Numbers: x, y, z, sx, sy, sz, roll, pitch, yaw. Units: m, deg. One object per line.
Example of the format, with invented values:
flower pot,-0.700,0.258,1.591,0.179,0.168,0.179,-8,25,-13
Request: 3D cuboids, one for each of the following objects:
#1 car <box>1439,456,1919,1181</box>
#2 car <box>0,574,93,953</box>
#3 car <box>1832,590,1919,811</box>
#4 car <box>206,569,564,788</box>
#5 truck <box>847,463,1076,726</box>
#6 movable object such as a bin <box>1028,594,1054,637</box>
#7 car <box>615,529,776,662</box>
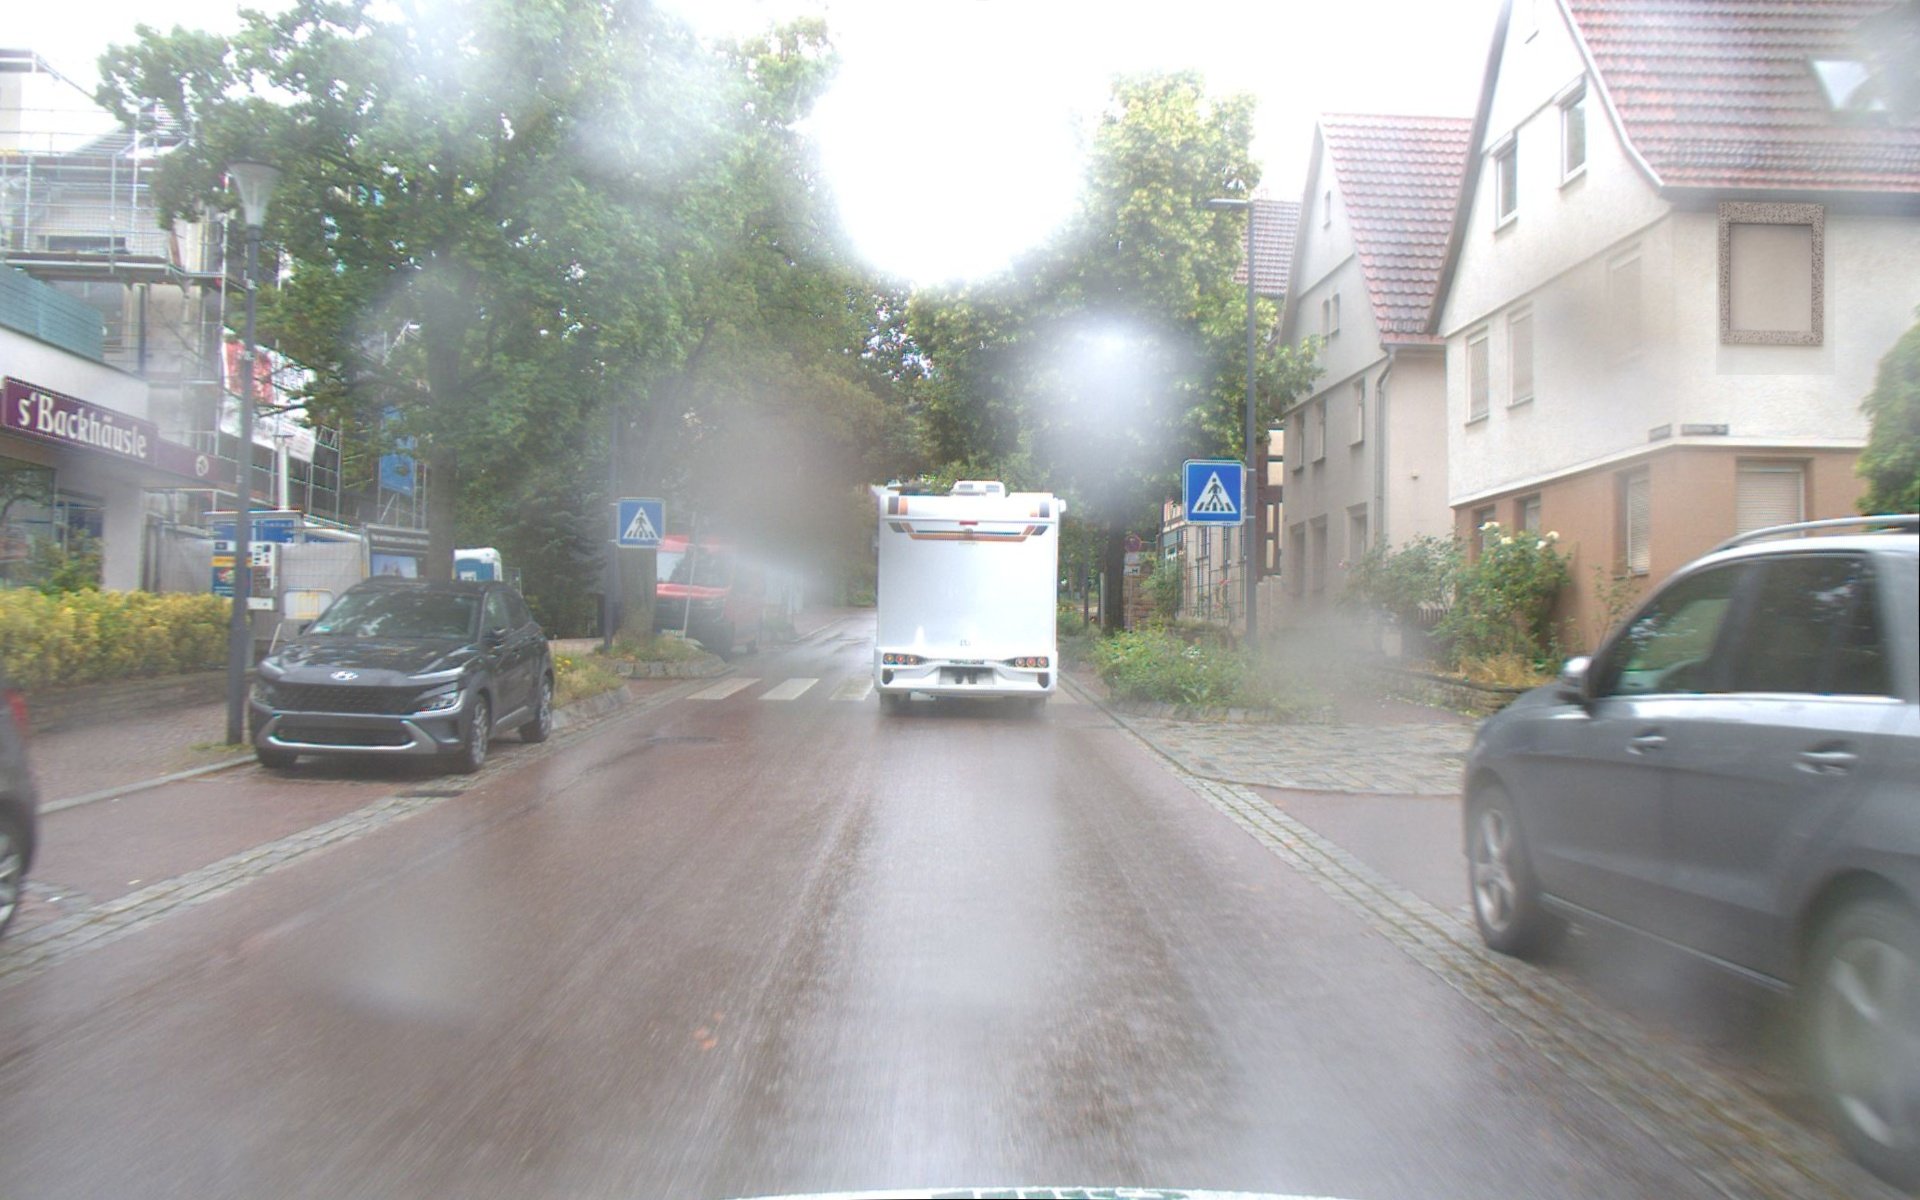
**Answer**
car,3.310,0.561,5.679,1.876,1.823,4.486,1,0,-2
car,-4.776,0.659,5.530,1.613,1.560,3.866,2,0,1
car,7.952,0.641,11.156,3.298,1.455,1.629,-1,0,-4
car,-4.841,0.574,14.560,1.735,1.580,3.999,3,0,-1
truck,-0.019,-0.051,22.571,2.640,3.038,6.235,1,0,-1
movable object such as a bin,2.395,0.452,49.070,0.706,1.234,0.727,1,0,0
car,-5.431,-0.135,34.872,2.256,2.526,5.786,1,1,2
